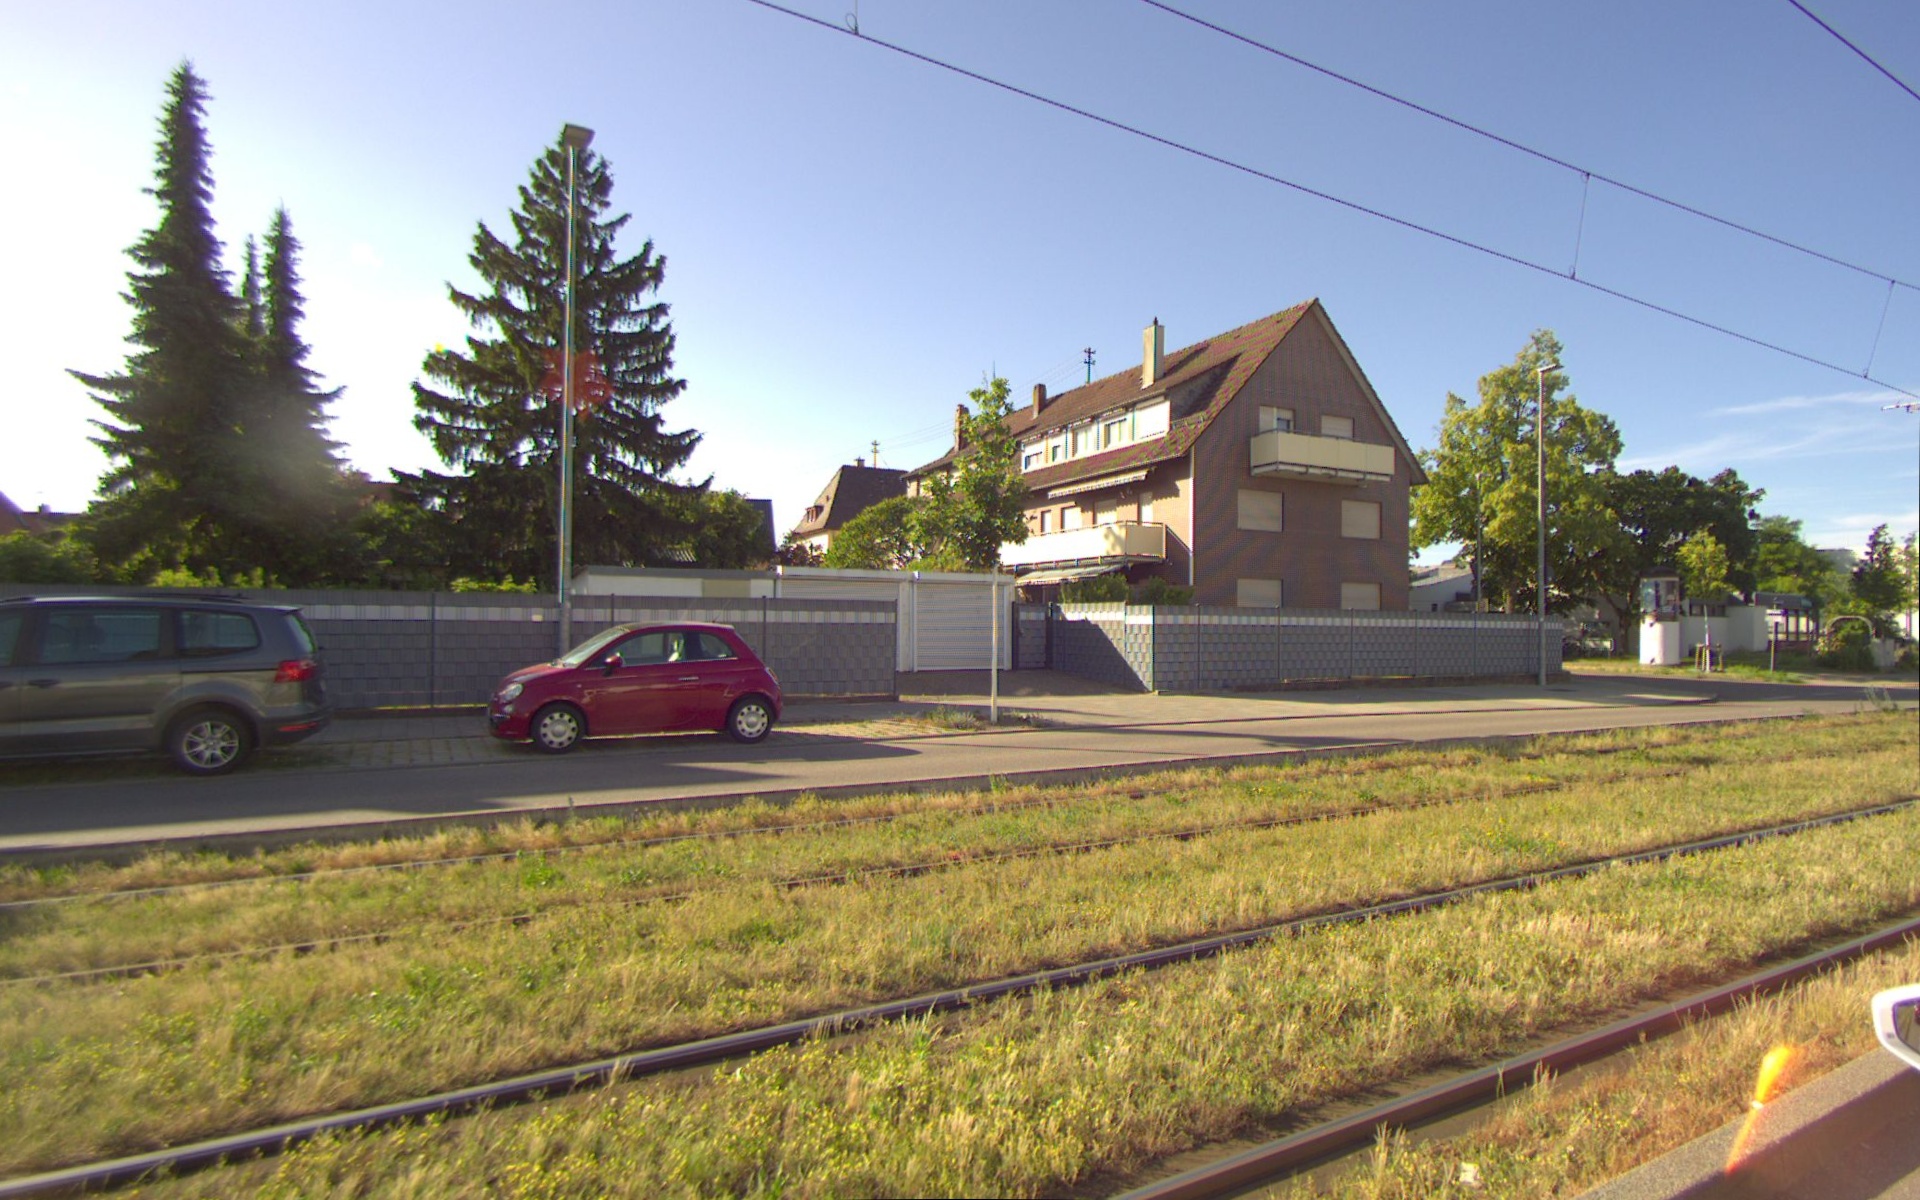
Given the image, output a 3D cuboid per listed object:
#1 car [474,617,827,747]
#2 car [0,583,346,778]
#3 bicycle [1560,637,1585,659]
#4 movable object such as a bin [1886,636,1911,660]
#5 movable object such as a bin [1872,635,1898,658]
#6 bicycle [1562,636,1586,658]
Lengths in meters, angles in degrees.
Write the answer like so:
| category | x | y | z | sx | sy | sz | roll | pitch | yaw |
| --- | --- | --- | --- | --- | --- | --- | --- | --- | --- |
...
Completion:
| category | x | y | z | sx | sy | sz | roll | pitch | yaw |
| --- | --- | --- | --- | --- | --- | --- | --- | --- | --- |
| car | -3.885 | 0.956 | 12.752 | 4.029 | 1.423 | 1.688 | 1 | -2 | -30 |
| car | -8.845 | 0.710 | 9.762 | 4.788 | 1.707 | 1.811 | 2 | 1 | -30 |
| bicycle | 30.765 | 2.401 | 50.459 | 1.042 | 1.097 | 0.303 | -1 | -1 | 44 |
| movable object such as a bin | 59.680 | 3.033 | 63.856 | 1.236 | 1.453 | 0.663 | 2 | 0 | -22 |
| movable object such as a bin | 58.228 | 2.927 | 63.230 | 1.401 | 1.401 | 0.663 | 2 | 0 | -22 |
| bicycle | 31.003 | 2.380 | 50.720 | 1.026 | 1.073 | 0.303 | -1 | -1 | 44 |
